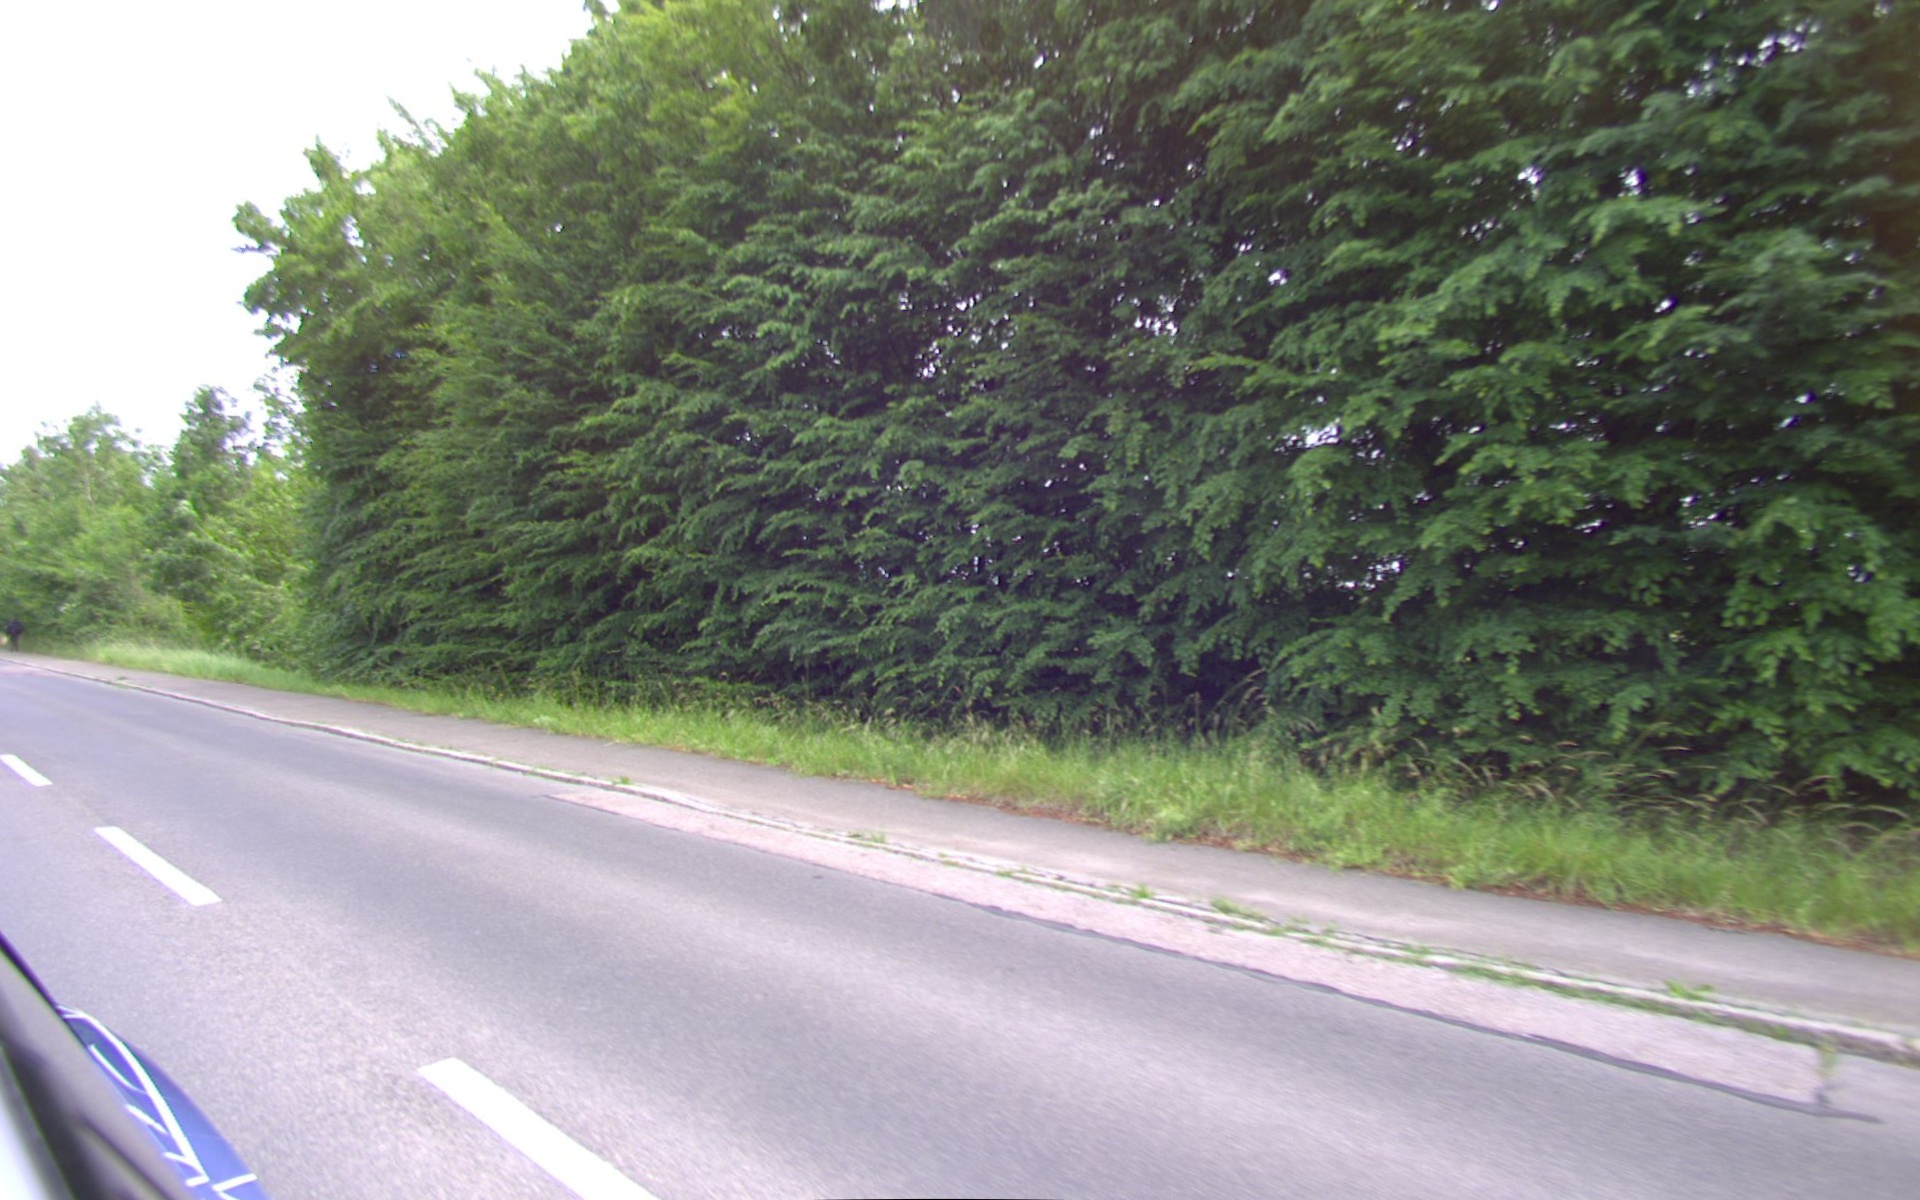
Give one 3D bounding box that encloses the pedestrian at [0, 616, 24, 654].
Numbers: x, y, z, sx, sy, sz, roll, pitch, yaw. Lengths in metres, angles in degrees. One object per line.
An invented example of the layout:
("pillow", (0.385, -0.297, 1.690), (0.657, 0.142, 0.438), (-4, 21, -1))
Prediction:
("pedestrian", (-46.436, 1.716, 49.387), (0.788, 1.783, 0.860), (-2, -6, 36))
